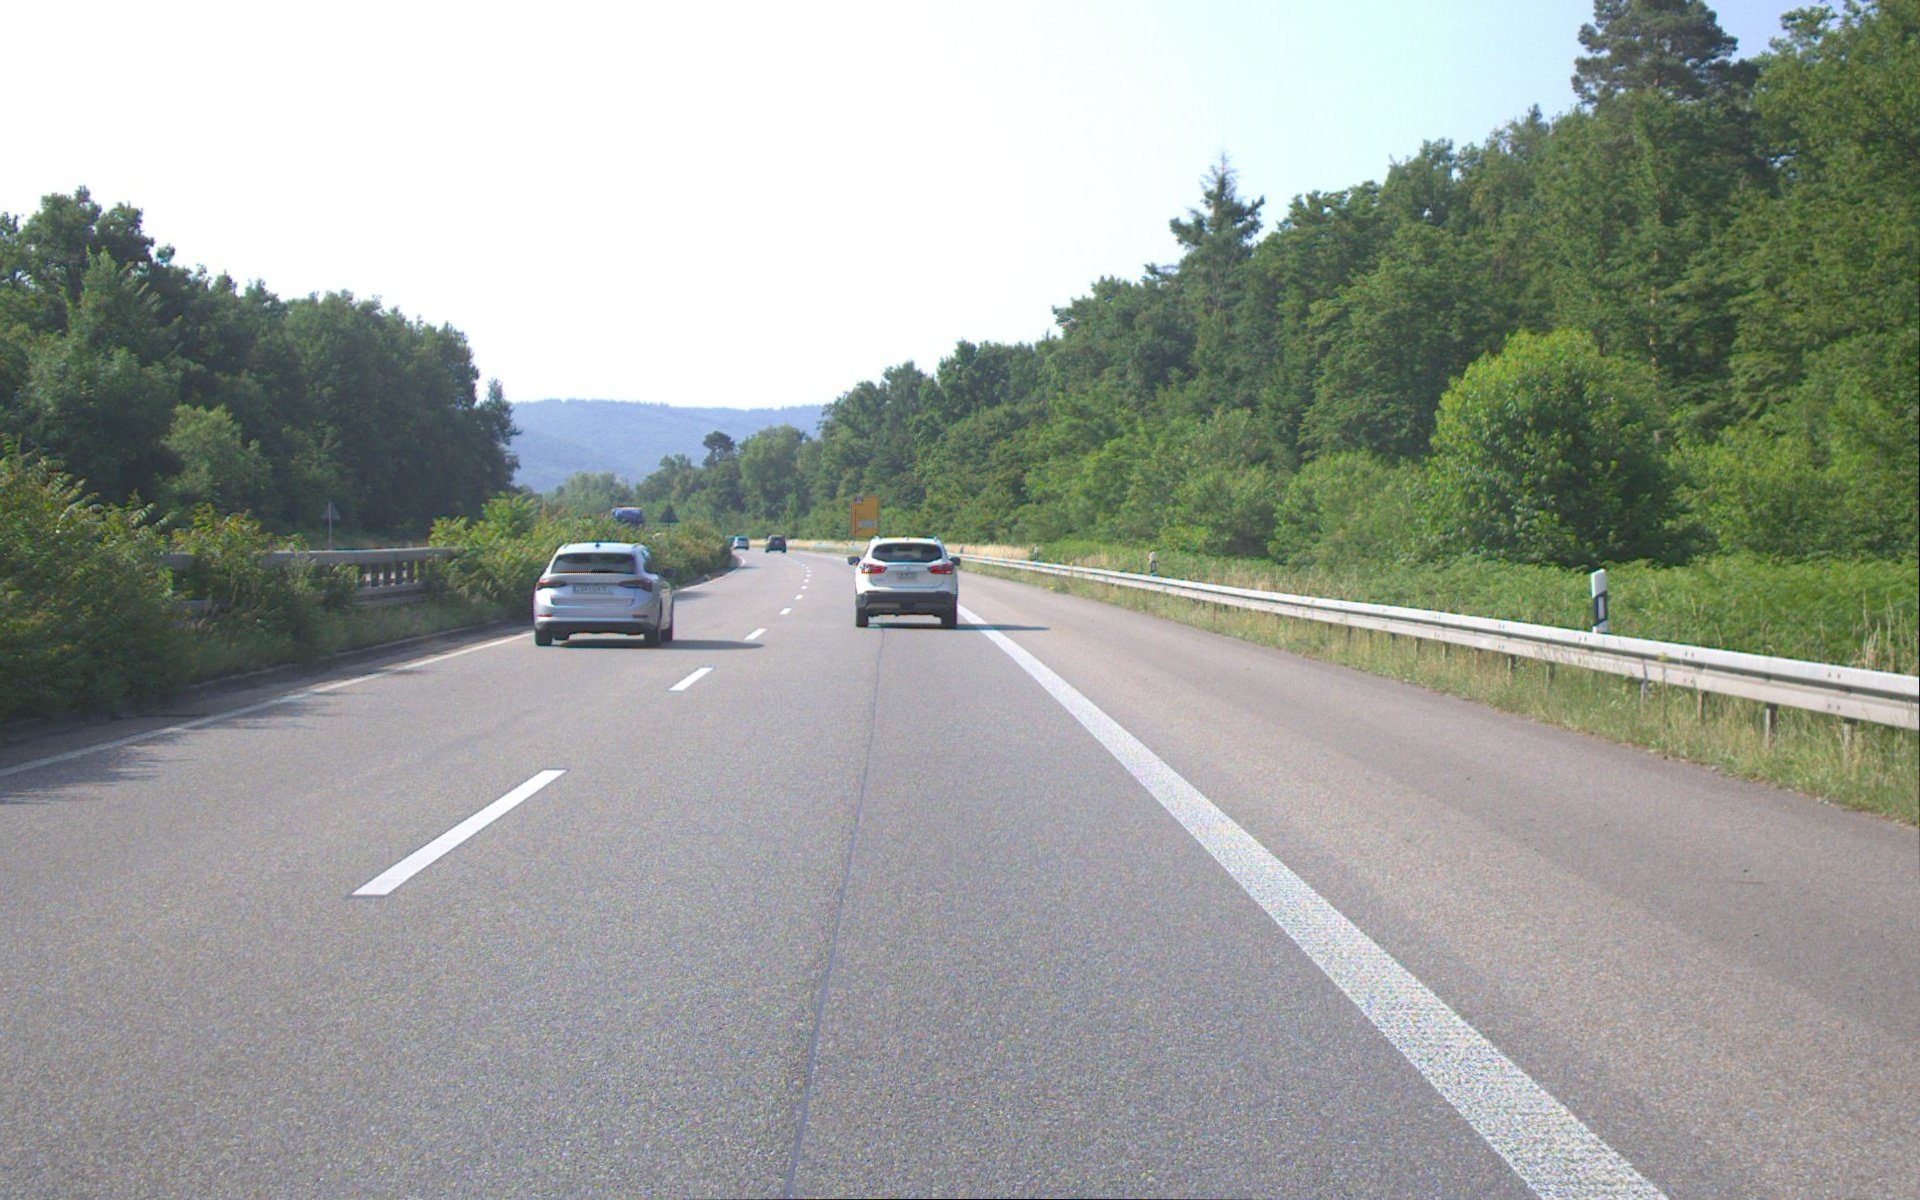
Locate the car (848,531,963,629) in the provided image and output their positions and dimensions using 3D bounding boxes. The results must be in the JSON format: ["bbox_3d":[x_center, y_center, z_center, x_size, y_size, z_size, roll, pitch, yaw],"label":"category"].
[{"bbox_3d":[-1.005,-0.384,61.375,1.873,1.580,4.001,2,1,-3],"label":"car"}]

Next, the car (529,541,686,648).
[{"bbox_3d":[-5.054,-0.118,49.894,1.792,1.433,5.279,0,1,-1],"label":"car"}]
